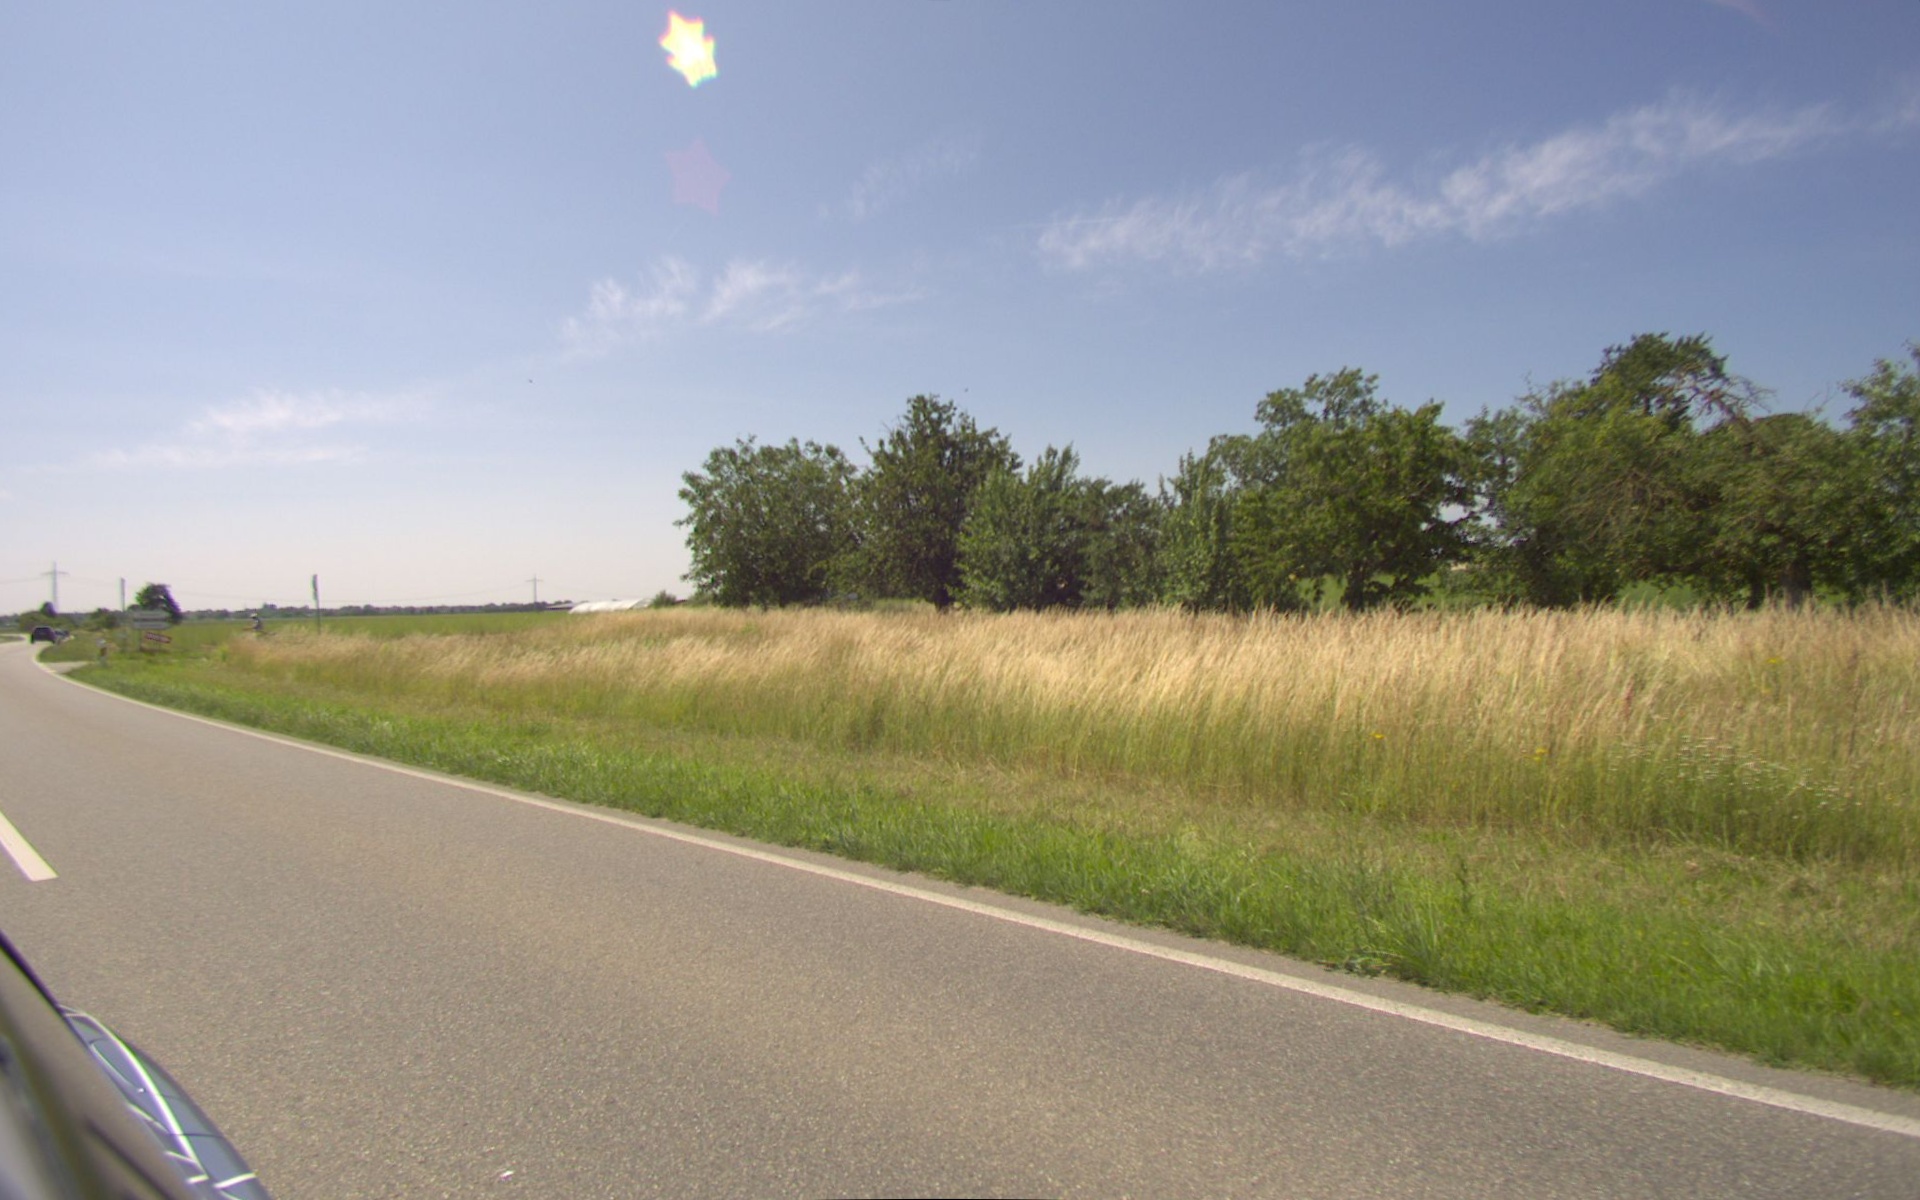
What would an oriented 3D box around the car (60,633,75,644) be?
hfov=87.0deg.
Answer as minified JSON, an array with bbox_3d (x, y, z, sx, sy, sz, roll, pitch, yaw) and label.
[{"bbox_3d":[-139.483,5.975,158.090,1.718,1.544,4.148,0,-1,-41],"label":"car"}]

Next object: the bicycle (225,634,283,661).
[{"bbox_3d":[-28.947,1.935,41.518,1.892,0.999,0.684,-2,1,-33],"label":"bicycle"}]

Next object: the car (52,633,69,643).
[{"bbox_3d":[-120.235,5.071,135.298,1.720,1.367,4.424,0,-2,-41],"label":"car"}]

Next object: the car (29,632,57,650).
[{"bbox_3d":[-92.617,4.135,102.281,1.909,1.765,5.211,1,-2,-41],"label":"car"}]

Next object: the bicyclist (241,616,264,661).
[{"bbox_3d":[-28.998,1.565,41.494,0.690,1.771,0.664,-2,0,-33],"label":"bicyclist"}]
